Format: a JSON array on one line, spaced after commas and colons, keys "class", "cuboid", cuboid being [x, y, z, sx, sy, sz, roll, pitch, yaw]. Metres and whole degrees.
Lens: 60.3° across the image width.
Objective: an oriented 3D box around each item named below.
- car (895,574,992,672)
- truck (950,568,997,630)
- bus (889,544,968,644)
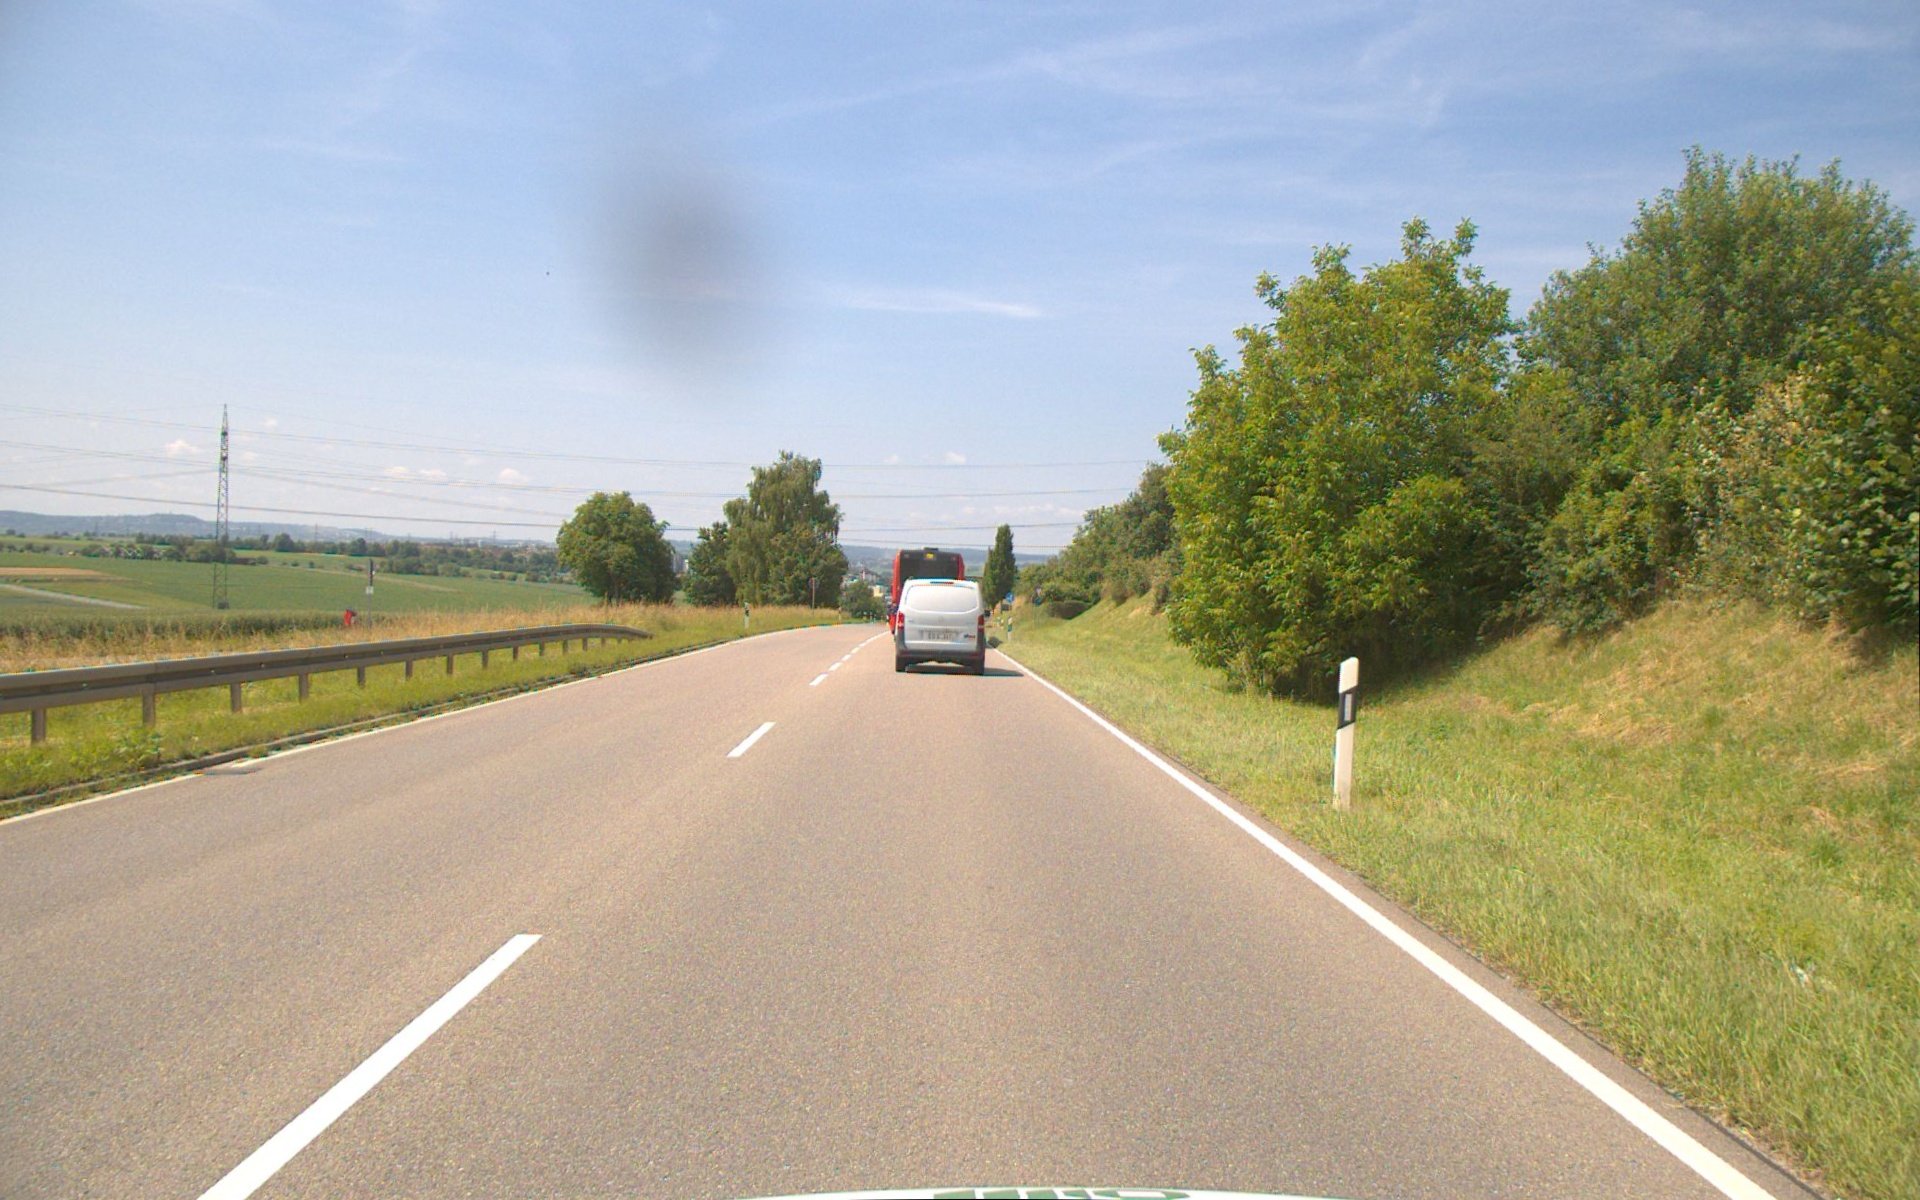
[{"class": "car", "cuboid": [-0.339, 0.458, 35.039, 1.884, 1.922, 3.999, 1, 0, 0]}, {"class": "truck", "cuboid": [0.954, -0.010, 129.976, 3.417, 4.501, 14.900, 1, 0, 0]}, {"class": "bus", "cuboid": [-1.310, -0.339, 63.483, 2.692, 3.412, 13.218, 0, 1, -2]}]
